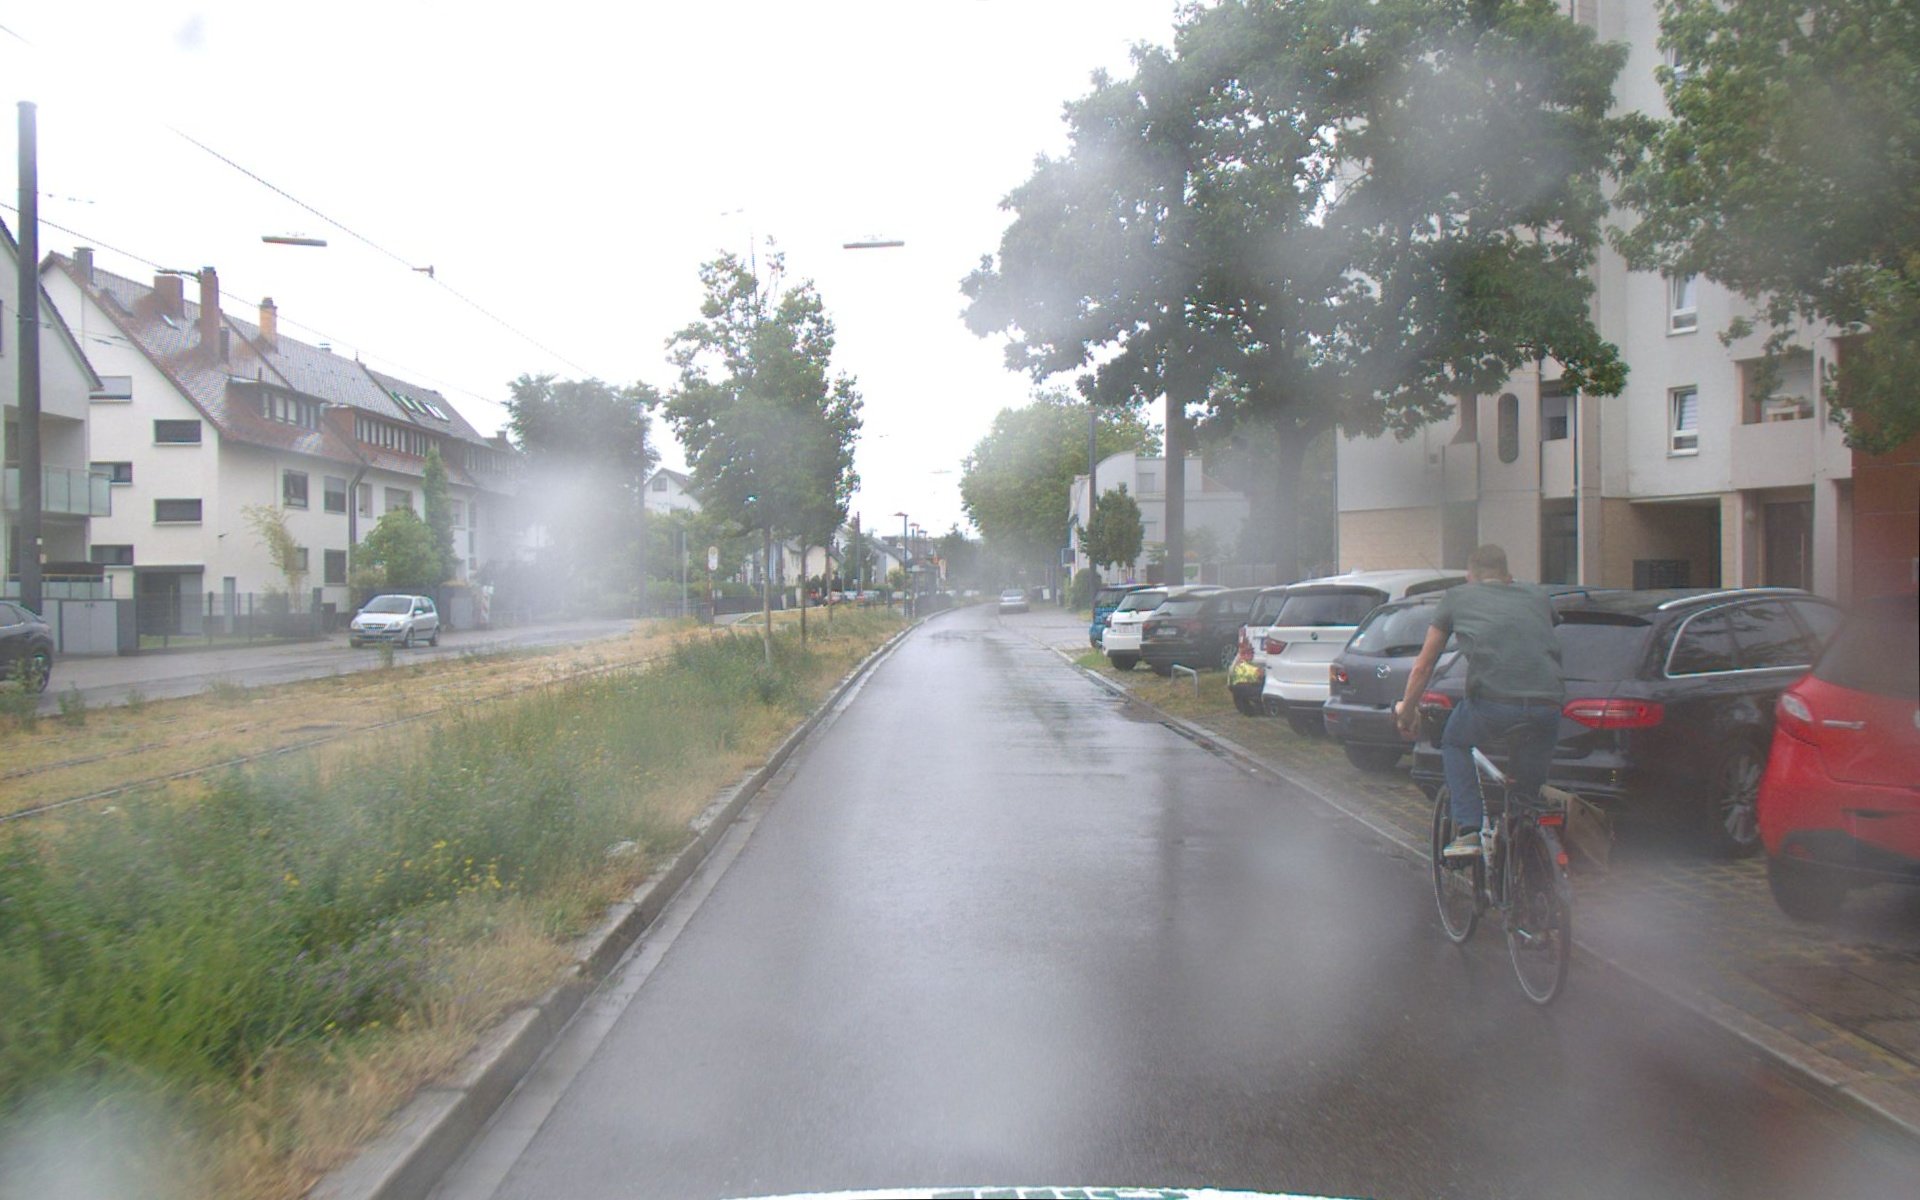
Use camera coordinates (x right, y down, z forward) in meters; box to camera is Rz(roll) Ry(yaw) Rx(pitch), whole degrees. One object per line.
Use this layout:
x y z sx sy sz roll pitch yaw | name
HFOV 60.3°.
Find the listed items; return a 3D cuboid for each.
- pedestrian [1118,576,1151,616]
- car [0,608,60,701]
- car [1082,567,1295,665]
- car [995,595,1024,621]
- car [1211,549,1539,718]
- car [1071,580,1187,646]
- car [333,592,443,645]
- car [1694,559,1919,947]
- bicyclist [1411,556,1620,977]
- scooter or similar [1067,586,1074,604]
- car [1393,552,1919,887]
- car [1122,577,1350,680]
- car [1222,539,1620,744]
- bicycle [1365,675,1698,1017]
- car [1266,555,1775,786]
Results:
6.807 -0.168 64.697 0.826 1.544 1.084 1 -1 -29 | pedestrian
-15.865 0.840 25.460 1.799 1.452 4.173 0 0 -2 | car
4.450 0.271 31.899 4.149 1.574 1.739 -5 2 -41 | car
3.056 0.512 101.877 1.616 1.430 4.650 -4 -1 2 | car
5.144 0.338 20.265 4.143 1.700 1.662 -4 2 -38 | car
4.238 0.313 41.396 2.542 1.575 1.579 -1 0 -41 | car
-16.354 0.518 47.489 1.953 1.438 3.657 0 0 -2 | car
5.483 0.513 7.917 4.419 1.453 1.784 -5 2 -39 | car
2.212 0.630 6.652 0.524 1.587 0.771 0 -1 -7 | bicyclist
6.669 -0.309 99.993 0.326 1.104 1.397 0 -1 7 | scooter or similar
4.759 0.535 9.971 4.410 1.453 1.664 -4 2 -35 | car
4.826 0.455 28.663 3.905 1.456 1.662 -4 2 -38 | car
4.884 0.336 17.182 4.421 1.700 1.786 -5 2 -40 | car
2.234 0.898 6.736 0.526 1.112 1.946 0 0 -5 | bicycle
4.744 0.472 13.739 4.411 1.434 1.746 -4 2 -36 | car
